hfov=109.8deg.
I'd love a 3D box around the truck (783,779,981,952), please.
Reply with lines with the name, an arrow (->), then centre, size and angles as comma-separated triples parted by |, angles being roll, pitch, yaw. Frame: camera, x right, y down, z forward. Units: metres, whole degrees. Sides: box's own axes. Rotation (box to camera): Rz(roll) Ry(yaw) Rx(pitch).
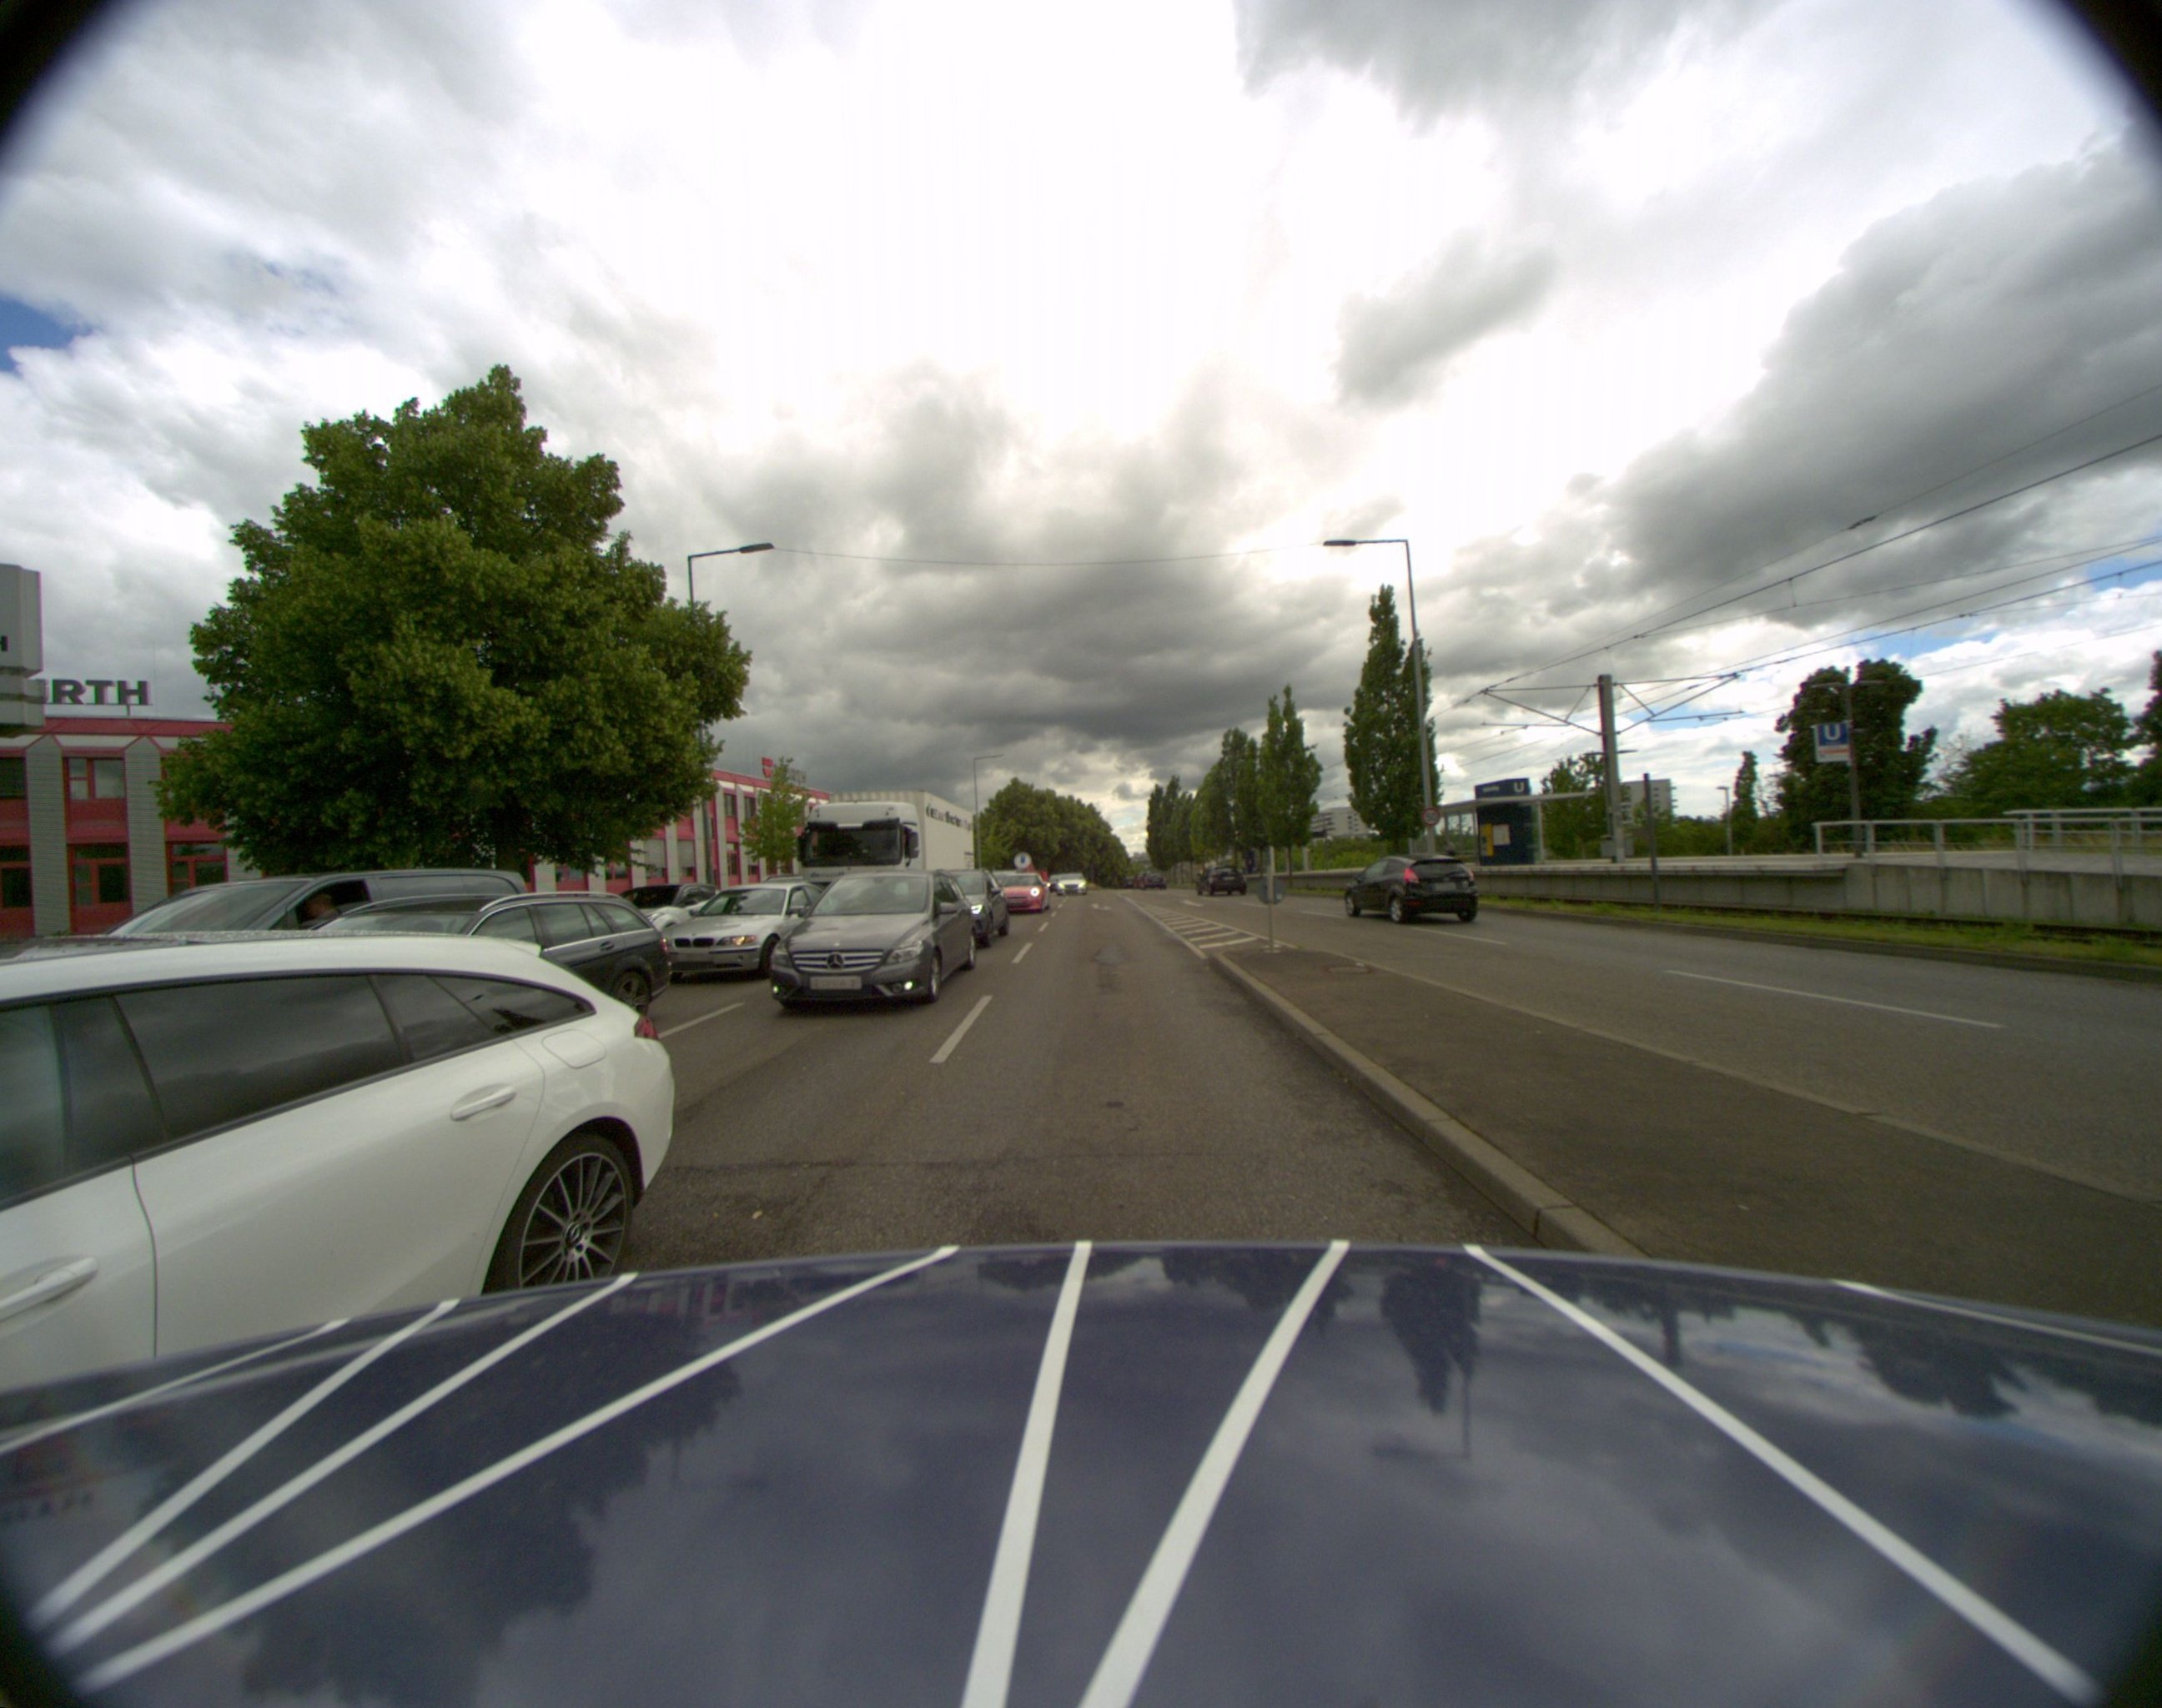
truck -> -5.257, 0.288, 22.620 | 2.809, 3.880, 10.182 | -2, 0, 2

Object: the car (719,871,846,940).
car -> -8.459, 1.397, 21.996 | 1.865, 1.648, 4.209 | -4, -1, 1

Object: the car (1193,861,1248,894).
car -> 6.705, 1.109, 36.932 | 1.700, 1.440, 3.934 | -2, -1, -3

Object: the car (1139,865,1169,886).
car -> 5.638, 1.649, 58.744 | 1.813, 1.440, 3.934 | -2, 0, -1

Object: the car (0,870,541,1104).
car -> -8.825, 1.177, 8.687 | 1.763, 1.765, 4.675 | -2, 1, 2

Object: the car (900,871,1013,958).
car -> -2.440, 1.147, 15.780 | 1.628, 1.484, 3.838 | -2, -1, 1

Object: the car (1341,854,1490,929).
car -> 7.374, 0.763, 17.155 | 1.700, 1.440, 3.660 | -2, 0, 0

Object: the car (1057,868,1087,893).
car -> -0.526, 1.692, 49.637 | 1.804, 1.403, 4.317 | -2, 1, 1

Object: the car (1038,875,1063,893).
car -> -2.474, 2.466, 63.198 | 1.804, 1.403, 4.318 | -2, -1, 1

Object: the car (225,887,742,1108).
car -> -5.337, 1.143, 7.726 | 1.750, 1.476, 4.357 | -2, -1, 1

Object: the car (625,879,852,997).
car -> -5.382, 1.230, 12.655 | 1.750, 1.374, 4.290 | -2, 1, 1

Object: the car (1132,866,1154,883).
car -> 5.782, 1.862, 71.202 | 1.700, 1.440, 3.934 | -2, 0, -1

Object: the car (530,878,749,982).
car -> -8.607, 1.402, 15.323 | 1.844, 1.507, 4.106 | -6, 0, 1

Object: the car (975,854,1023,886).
car -> -4.359, 0.810, 40.973 | 1.797, 1.521, 4.219 | -2, 1, 4

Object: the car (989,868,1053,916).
car -> -2.067, 1.300, 27.146 | 1.825, 1.497, 3.495 | -2, 0, 2

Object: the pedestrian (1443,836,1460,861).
pedestrian -> 17.826, -0.266, 36.558 | 0.601, 1.148, 0.447 | -2, 1, 1

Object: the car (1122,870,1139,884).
car -> 6.080, 2.807, 94.437 | 1.700, 1.440, 3.933 | -4, 1, -1

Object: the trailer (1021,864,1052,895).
trailer -> -2.996, 1.709, 51.984 | 1.775, 1.651, 3.994 | -2, 4, 1

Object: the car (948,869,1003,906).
car -> -4.839, 1.519, 35.287 | 1.851, 1.521, 4.377 | -2, -1, 0

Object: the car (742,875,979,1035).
car -> -2.510, 1.080, 9.731 | 1.750, 1.499, 4.048 | -2, -1, 1

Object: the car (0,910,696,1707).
car -> -2.693, 1.054, 1.072 | 1.849, 1.498, 4.530 | -2, 1, 1
